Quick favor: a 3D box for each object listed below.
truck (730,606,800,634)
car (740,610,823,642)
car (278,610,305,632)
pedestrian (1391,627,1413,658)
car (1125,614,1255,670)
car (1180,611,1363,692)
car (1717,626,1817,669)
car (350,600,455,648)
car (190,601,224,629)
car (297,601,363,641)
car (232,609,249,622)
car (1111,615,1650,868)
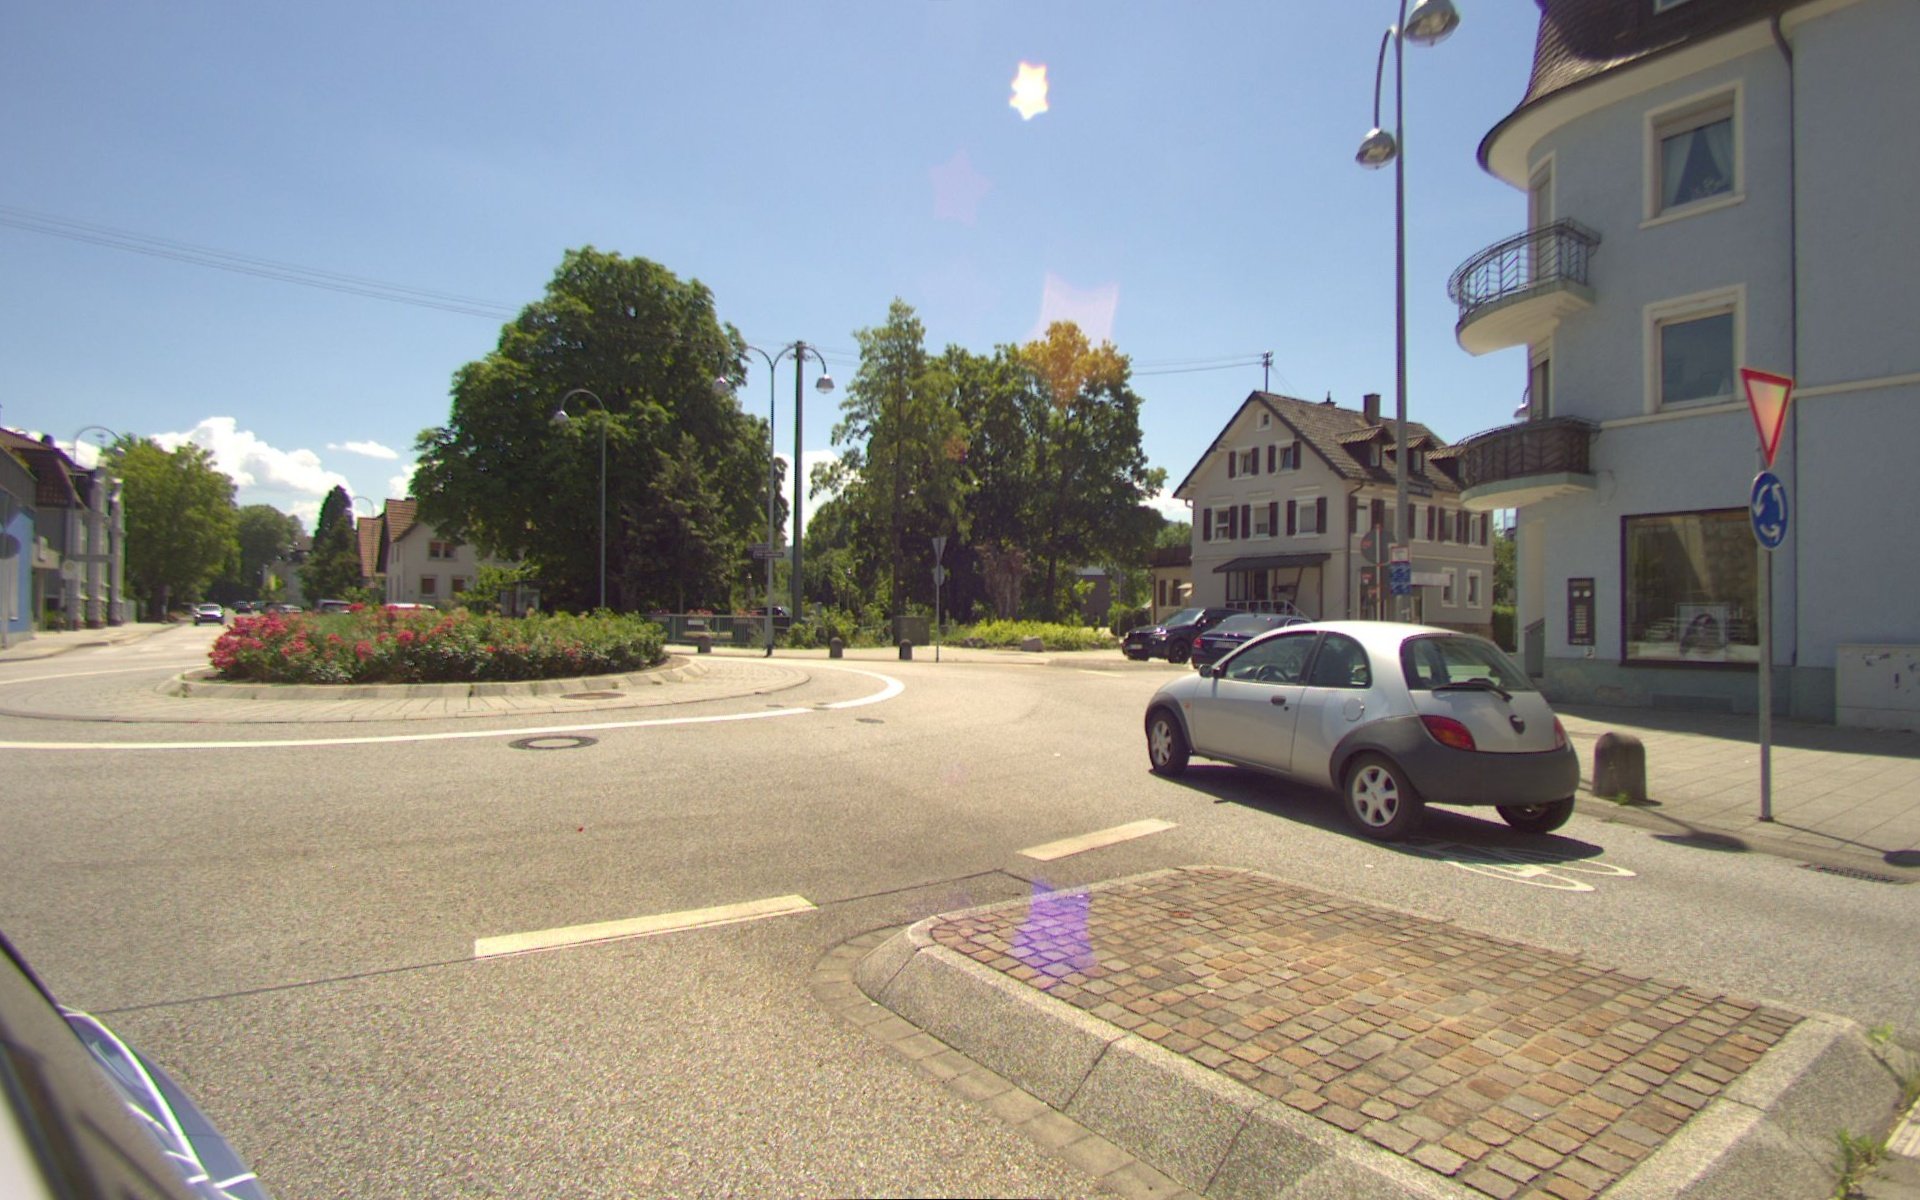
[{"bbox_3d":[-18.108,1.907,94.147,6.124,2.462,2.267,1,-4,-4],"label":"truck"},{"bbox_3d":[-9.396,1.349,53.356,3.974,1.613,1.828,0,-1,23],"label":"car"},{"bbox_3d":[-66.655,2.142,100.905,1.967,2.029,4.008,3,-5,-37],"label":"car"},{"bbox_3d":[19.331,1.855,44.287,0.571,1.295,0.687,2,-2,-37],"label":"pedestrian"},{"bbox_3d":[6.818,1.217,29.888,3.533,1.558,1.760,1,-1,-32],"label":"car"},{"bbox_3d":[6.681,1.066,21.385,1.999,1.489,4.644,0,-2,41],"label":"car"},{"bbox_3d":[30.771,1.801,38.563,3.879,1.558,1.688,1,-3,-31],"label":"car"},{"bbox_3d":[-19.122,0.772,34.653,4.289,1.392,1.905,3,2,43],"label":"car"},{"bbox_3d":[-58.826,1.196,79.043,1.967,2.029,4.008,3,-5,-37],"label":"car"},{"bbox_3d":[-28.392,0.989,45.567,1.968,1.574,4.174,4,-5,-38],"label":"car"},{"bbox_3d":[-107.261,2.308,150.896,1.712,1.719,4.006,0,-3,-40],"label":"car"},{"bbox_3d":[2.954,0.885,7.985,1.675,1.469,3.802,2,-2,-24],"label":"car"}]
